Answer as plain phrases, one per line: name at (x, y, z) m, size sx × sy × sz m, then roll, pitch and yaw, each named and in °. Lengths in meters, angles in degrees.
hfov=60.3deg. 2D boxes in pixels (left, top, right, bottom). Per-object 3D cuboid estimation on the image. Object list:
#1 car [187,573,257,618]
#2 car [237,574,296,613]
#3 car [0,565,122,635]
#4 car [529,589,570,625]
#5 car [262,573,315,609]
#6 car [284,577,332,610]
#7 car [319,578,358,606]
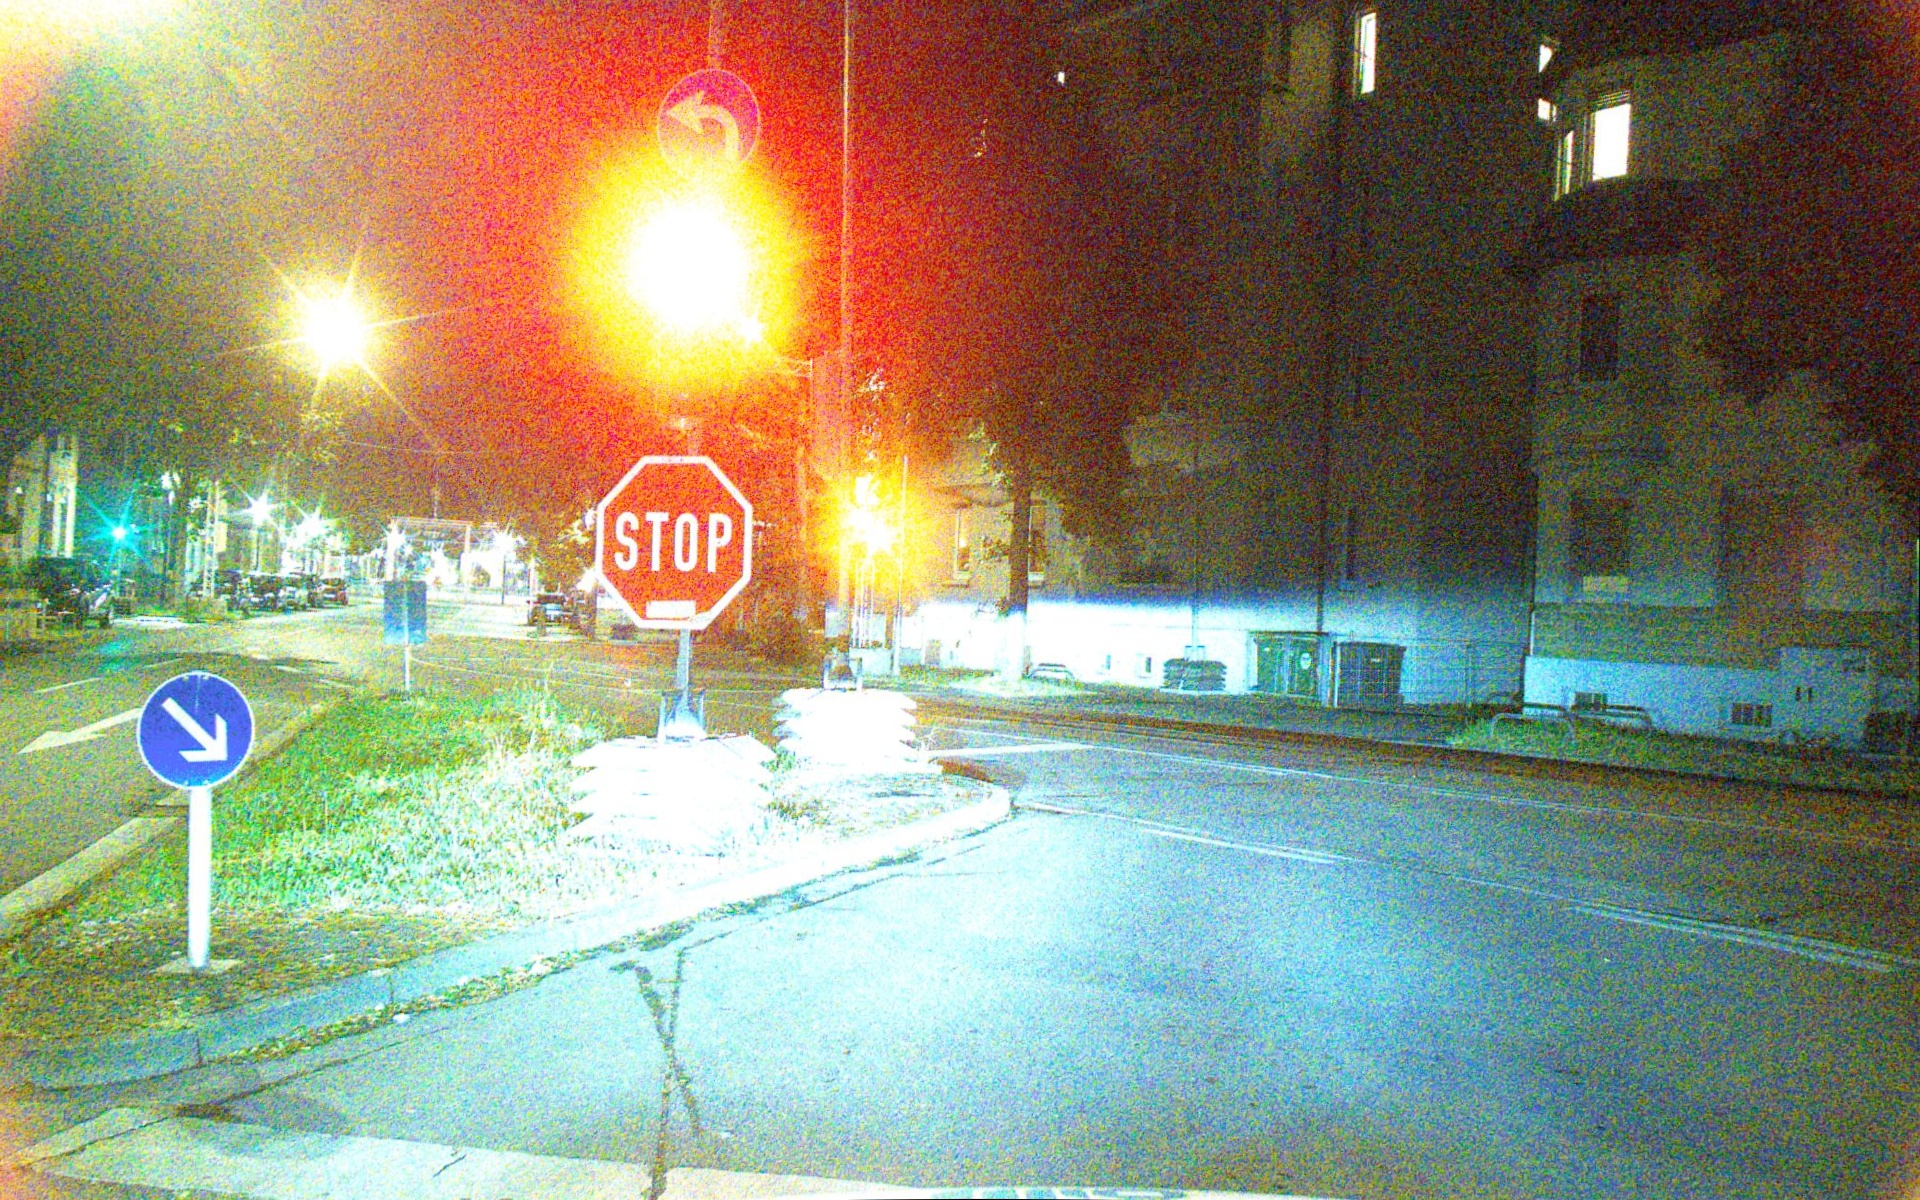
car at (-25.883, -0.156, 58.116) m, size 1.624 × 1.456 × 3.983 m, roll 2°, pitch 0°, yaw -15°
car at (-27.675, -0.252, 66.094) m, size 1.624 × 1.456 × 3.983 m, roll 2°, pitch 0°, yaw -15°
car at (-20.244, -0.005, 37.259) m, size 1.624 × 1.456 × 3.983 m, roll 2°, pitch 0°, yaw -15°
car at (-17.787, 0.304, 71.622) m, size 1.623 × 1.456 × 3.985 m, roll 2°, pitch 0°, yaw -14°
car at (-29.237, -0.392, 72.107) m, size 1.624 × 1.456 × 3.983 m, roll 2°, pitch 0°, yaw -15°
car at (-30.919, -0.313, 78.525) m, size 1.624 × 1.456 × 3.983 m, roll 2°, pitch 0°, yaw -15°
car at (-34.449, -0.431, 91.743) m, size 1.624 × 1.456 × 3.983 m, roll 2°, pitch 0°, yaw -15°
